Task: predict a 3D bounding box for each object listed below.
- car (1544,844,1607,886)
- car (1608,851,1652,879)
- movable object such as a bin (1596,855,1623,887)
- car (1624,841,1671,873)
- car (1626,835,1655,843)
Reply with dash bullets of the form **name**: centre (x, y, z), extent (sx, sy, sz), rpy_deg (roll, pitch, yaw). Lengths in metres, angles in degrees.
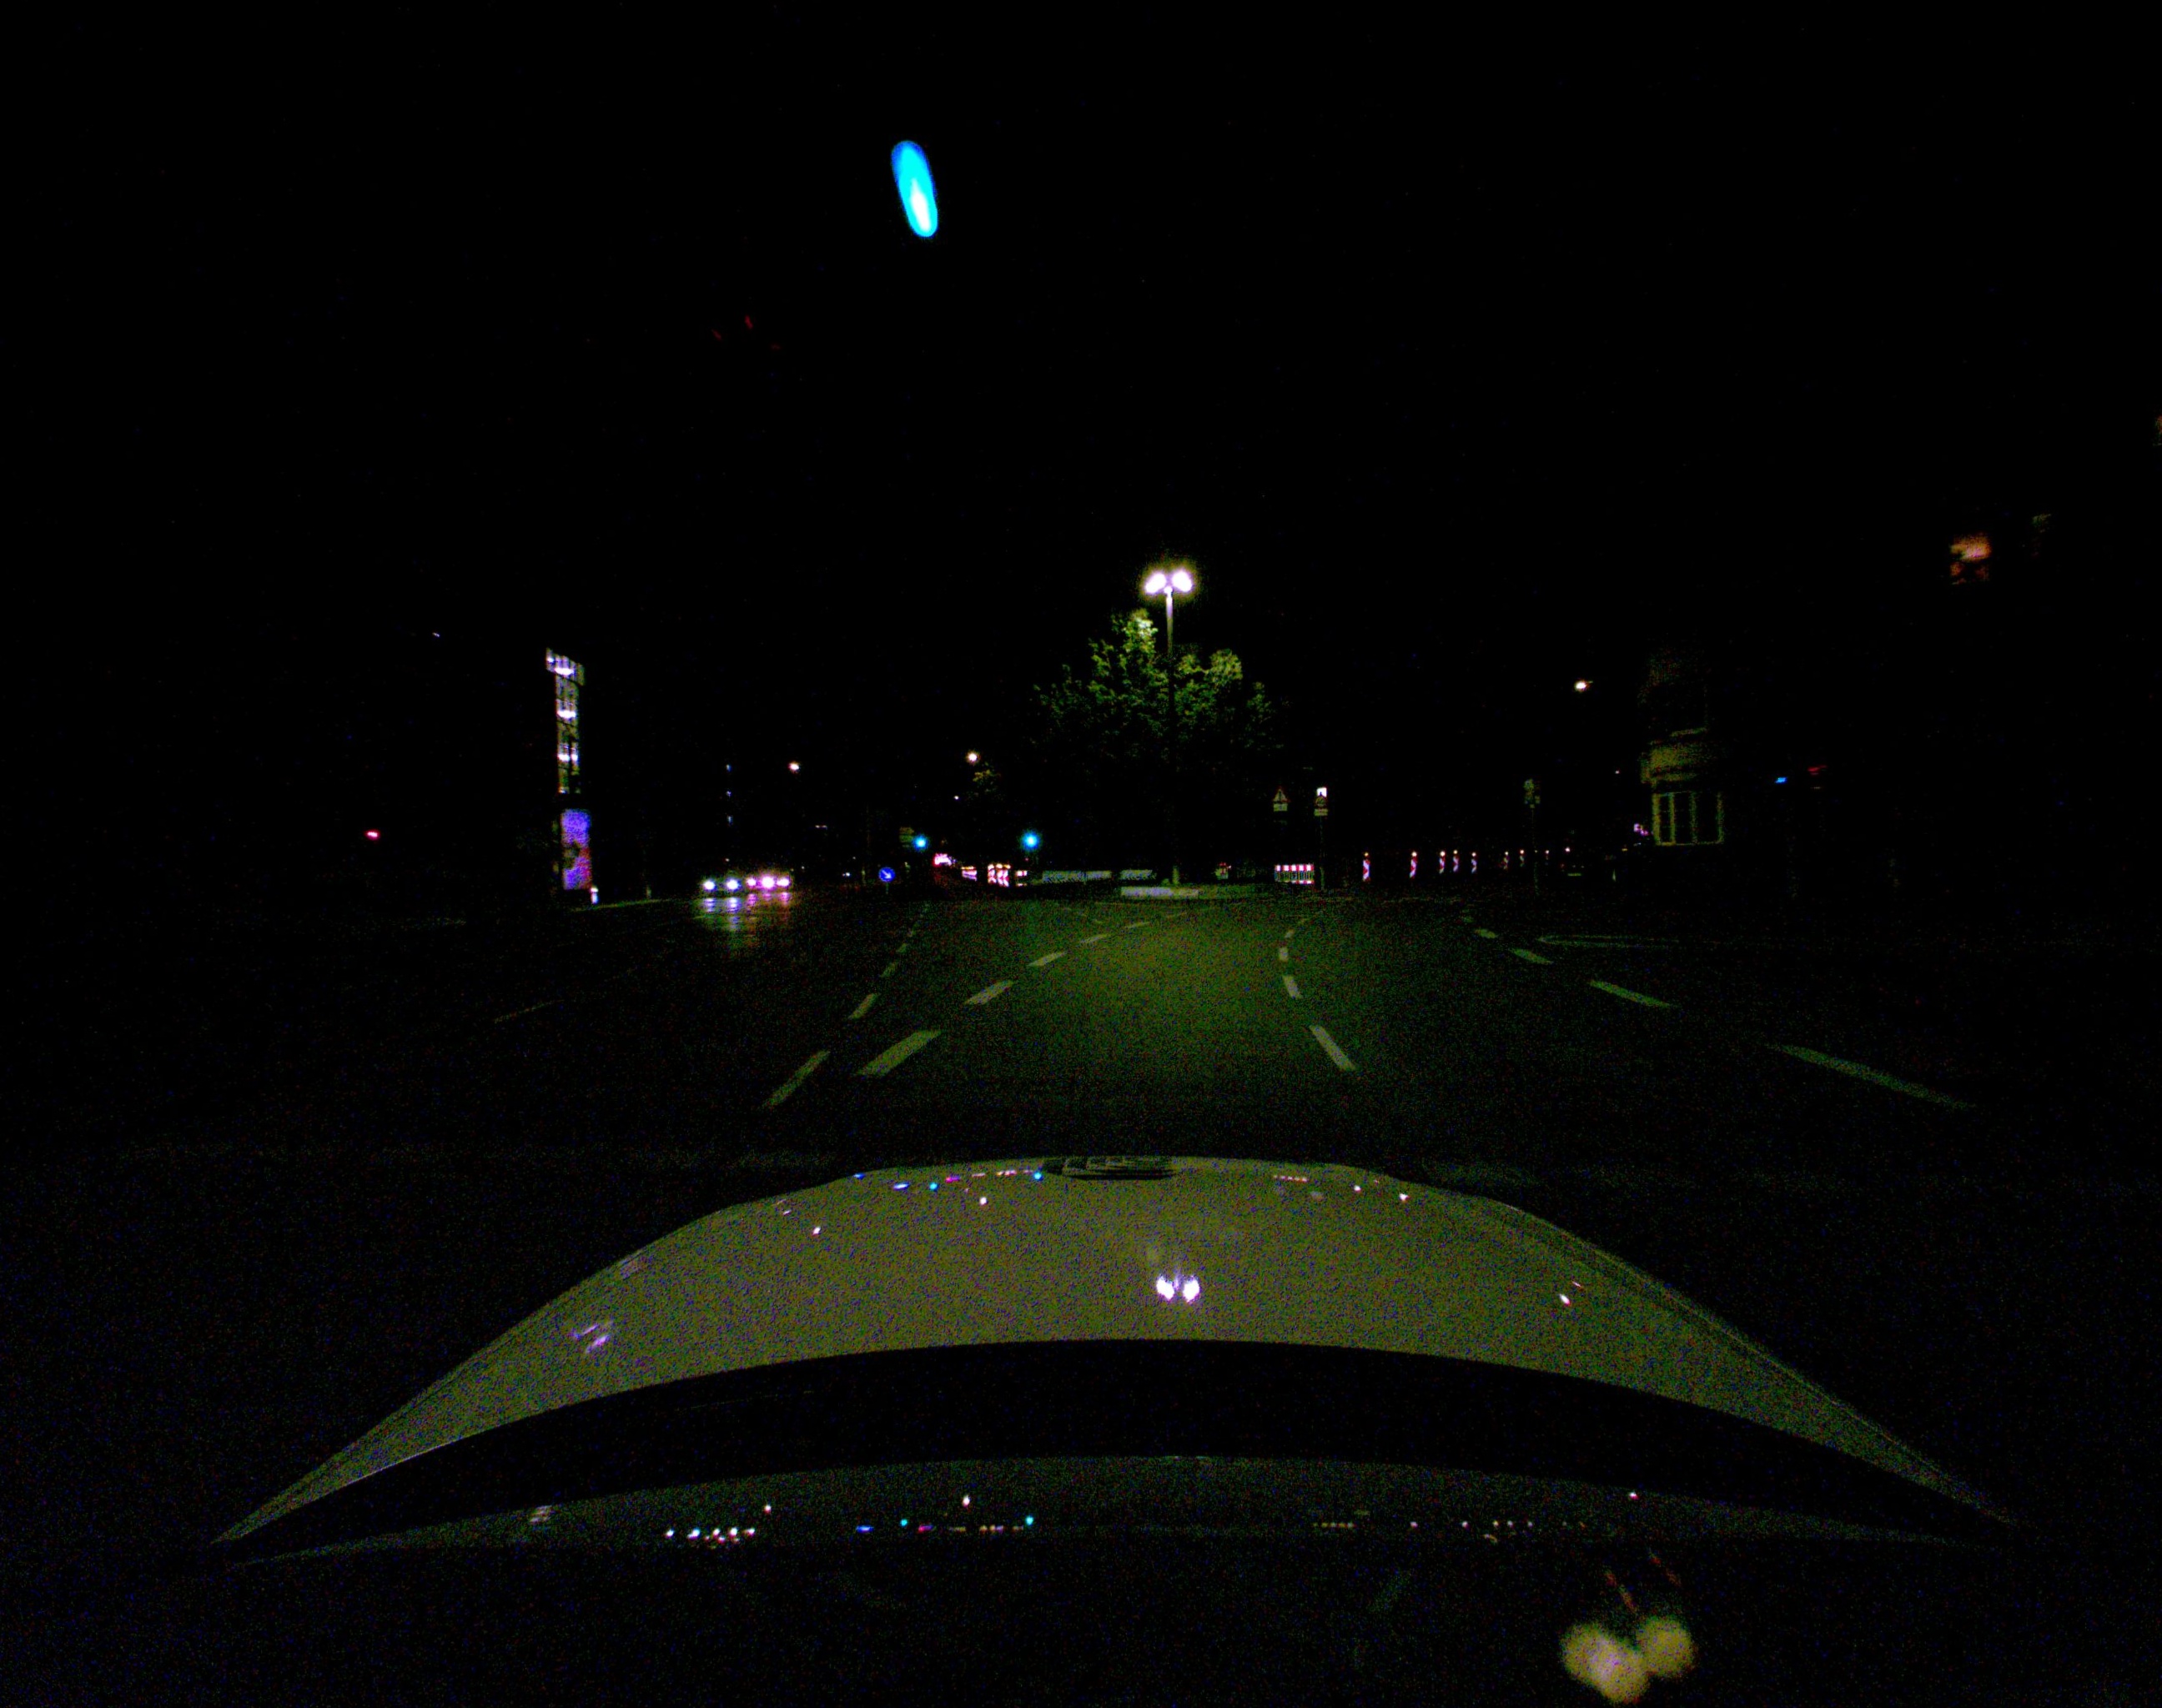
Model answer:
- **car**: centre (21.787, 0.478, 35.812), extent (1.727, 1.683, 4.285), rpy_deg (-3, -2, 39)
- **car**: centre (32.118, 0.628, 47.611), extent (1.727, 1.566, 4.237), rpy_deg (-3, -2, 39)
- **movable object such as a bin**: centre (24.901, 0.794, 38.371), extent (0.928, 1.432, 1.347), rpy_deg (-3, -2, 37)
- **car**: centre (37.884, 0.208, 54.433), extent (2.052, 1.928, 5.404), rpy_deg (-3, -2, 39)
- **car**: centre (104.697, -2.745, 152.423), extent (4.396, 1.449, 2.012), rpy_deg (-1, -1, 40)
